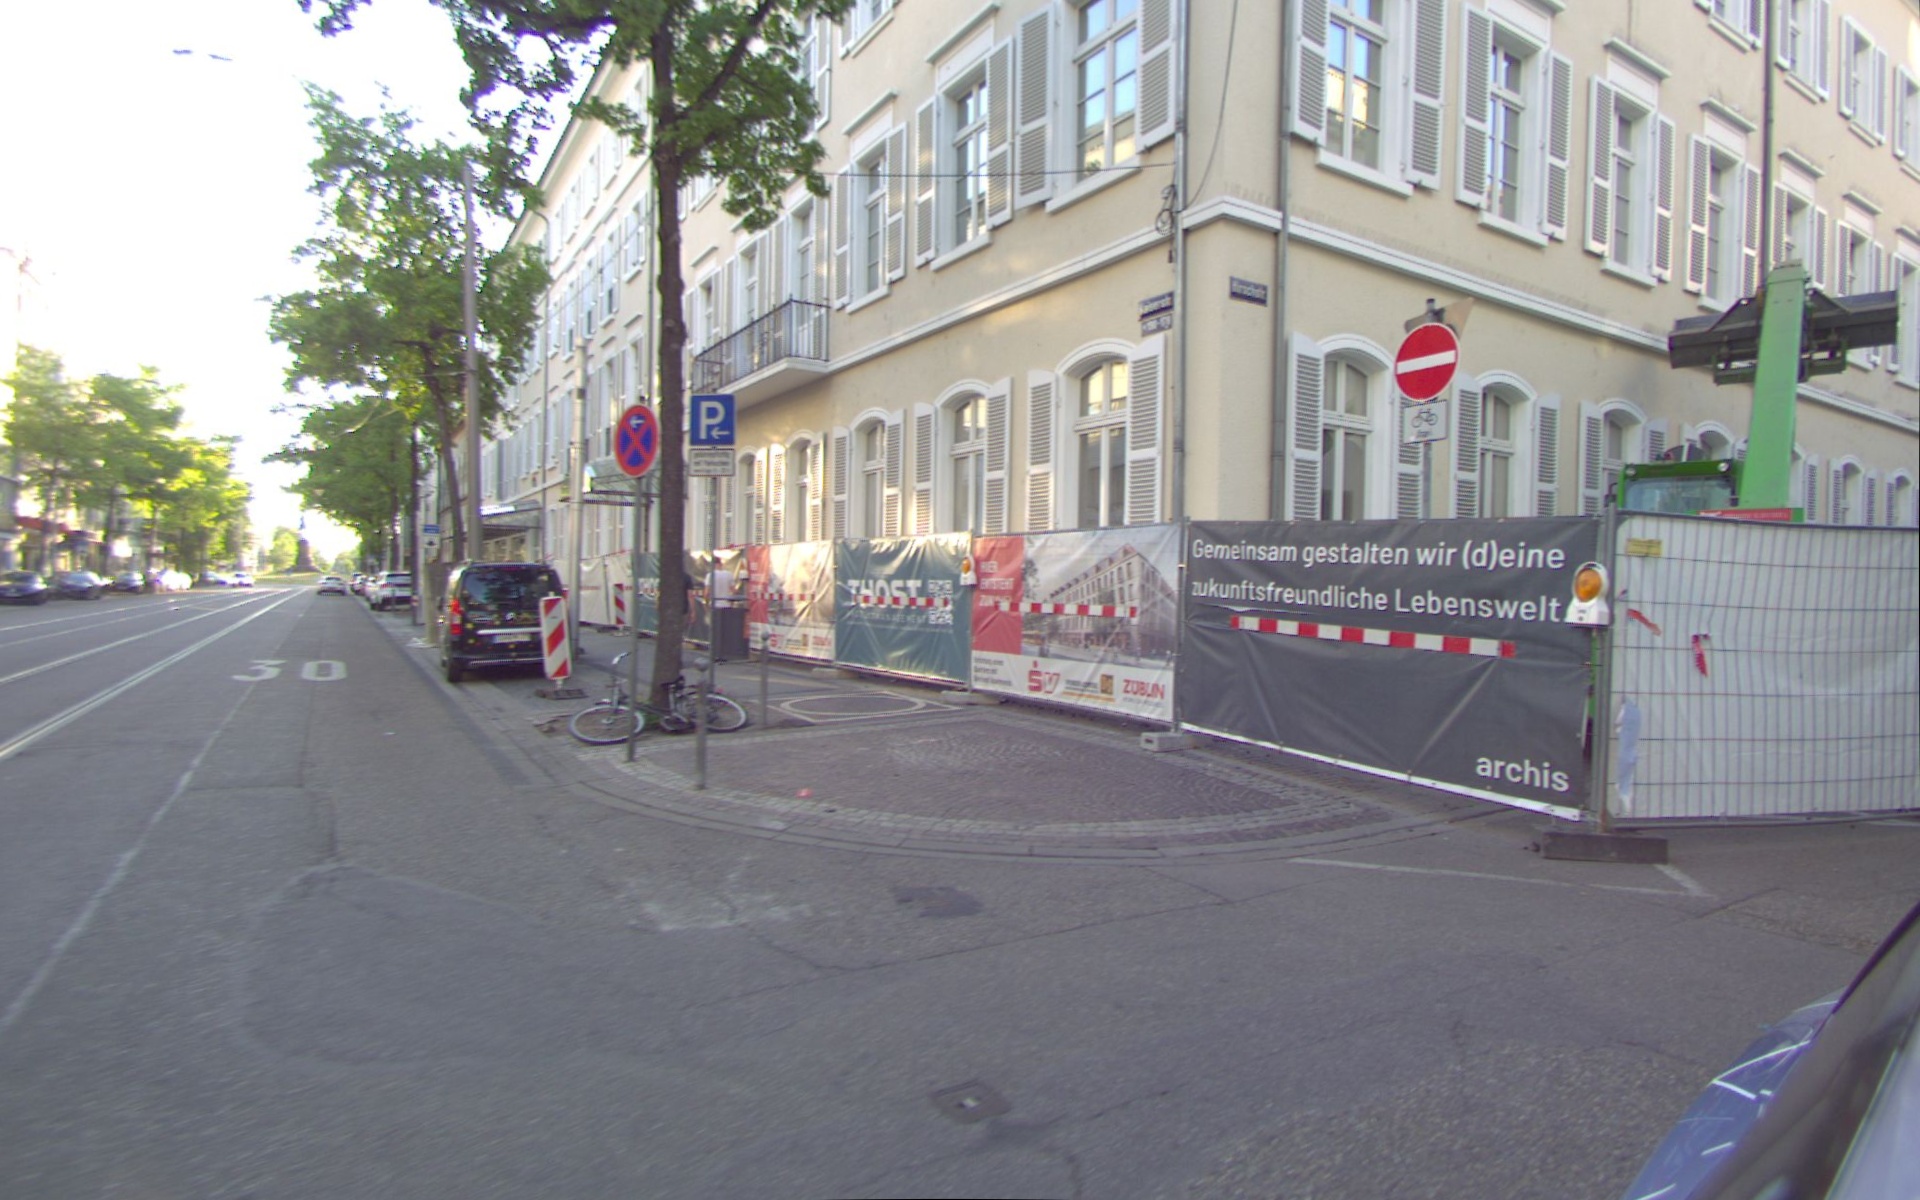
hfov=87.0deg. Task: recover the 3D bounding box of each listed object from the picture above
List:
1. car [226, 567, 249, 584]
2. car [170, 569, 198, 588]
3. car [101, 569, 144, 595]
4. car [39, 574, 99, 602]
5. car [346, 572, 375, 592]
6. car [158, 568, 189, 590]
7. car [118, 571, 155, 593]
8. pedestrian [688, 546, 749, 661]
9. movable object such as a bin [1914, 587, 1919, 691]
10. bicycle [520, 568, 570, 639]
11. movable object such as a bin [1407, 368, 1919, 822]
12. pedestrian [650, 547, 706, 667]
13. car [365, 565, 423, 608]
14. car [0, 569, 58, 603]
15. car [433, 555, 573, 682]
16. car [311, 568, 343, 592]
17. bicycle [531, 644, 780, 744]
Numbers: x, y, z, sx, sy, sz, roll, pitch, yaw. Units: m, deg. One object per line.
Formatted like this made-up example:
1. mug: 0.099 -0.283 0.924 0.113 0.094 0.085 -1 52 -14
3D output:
1. car: -77.920 -2.617 109.174 1.705 1.759 4.108 0 1 -32
2. car: -73.077 -2.060 95.381 1.705 1.759 4.108 0 1 -32
3. car: -55.563 -1.205 67.218 1.867 1.714 4.105 0 1 -35
4. car: -46.270 -0.664 52.614 1.705 1.336 4.107 3 0 -33
5. car: -48.368 -1.442 81.638 1.960 1.568 4.109 0 1 -30
6. car: -66.400 -1.788 85.481 1.705 1.759 4.108 0 1 -32
7. car: -58.414 -1.285 71.851 1.655 1.499 3.848 0 1 -33
8. pedestrian: -4.155 0.034 17.383 0.745 1.907 0.881 -2 2 -32
9. movable object such as a bin: 19.340 0.737 17.298 7.152 1.685 2.901 1 1 -34
10. bicycle: -9.652 0.060 23.484 0.690 1.570 2.185 -1 1 -32
11. movable object such as a bin: 6.850 -0.048 9.139 5.458 2.908 2.645 1 1 -35
12. pedestrian: -4.663 0.091 16.704 0.666 1.907 0.770 -2 2 -32
13. car: -24.578 -0.594 43.882 1.961 1.759 4.108 0 1 -32
14. car: -41.316 -0.643 44.368 1.965 1.379 4.108 2 0 -32
15. car: -7.570 0.202 16.566 1.738 1.786 3.883 -3 2 -29
16. car: -47.901 -1.512 76.653 1.960 1.759 4.109 0 1 -30
17. bicycle: -3.014 0.879 10.061 2.040 0.715 1.330 -1 2 -39
